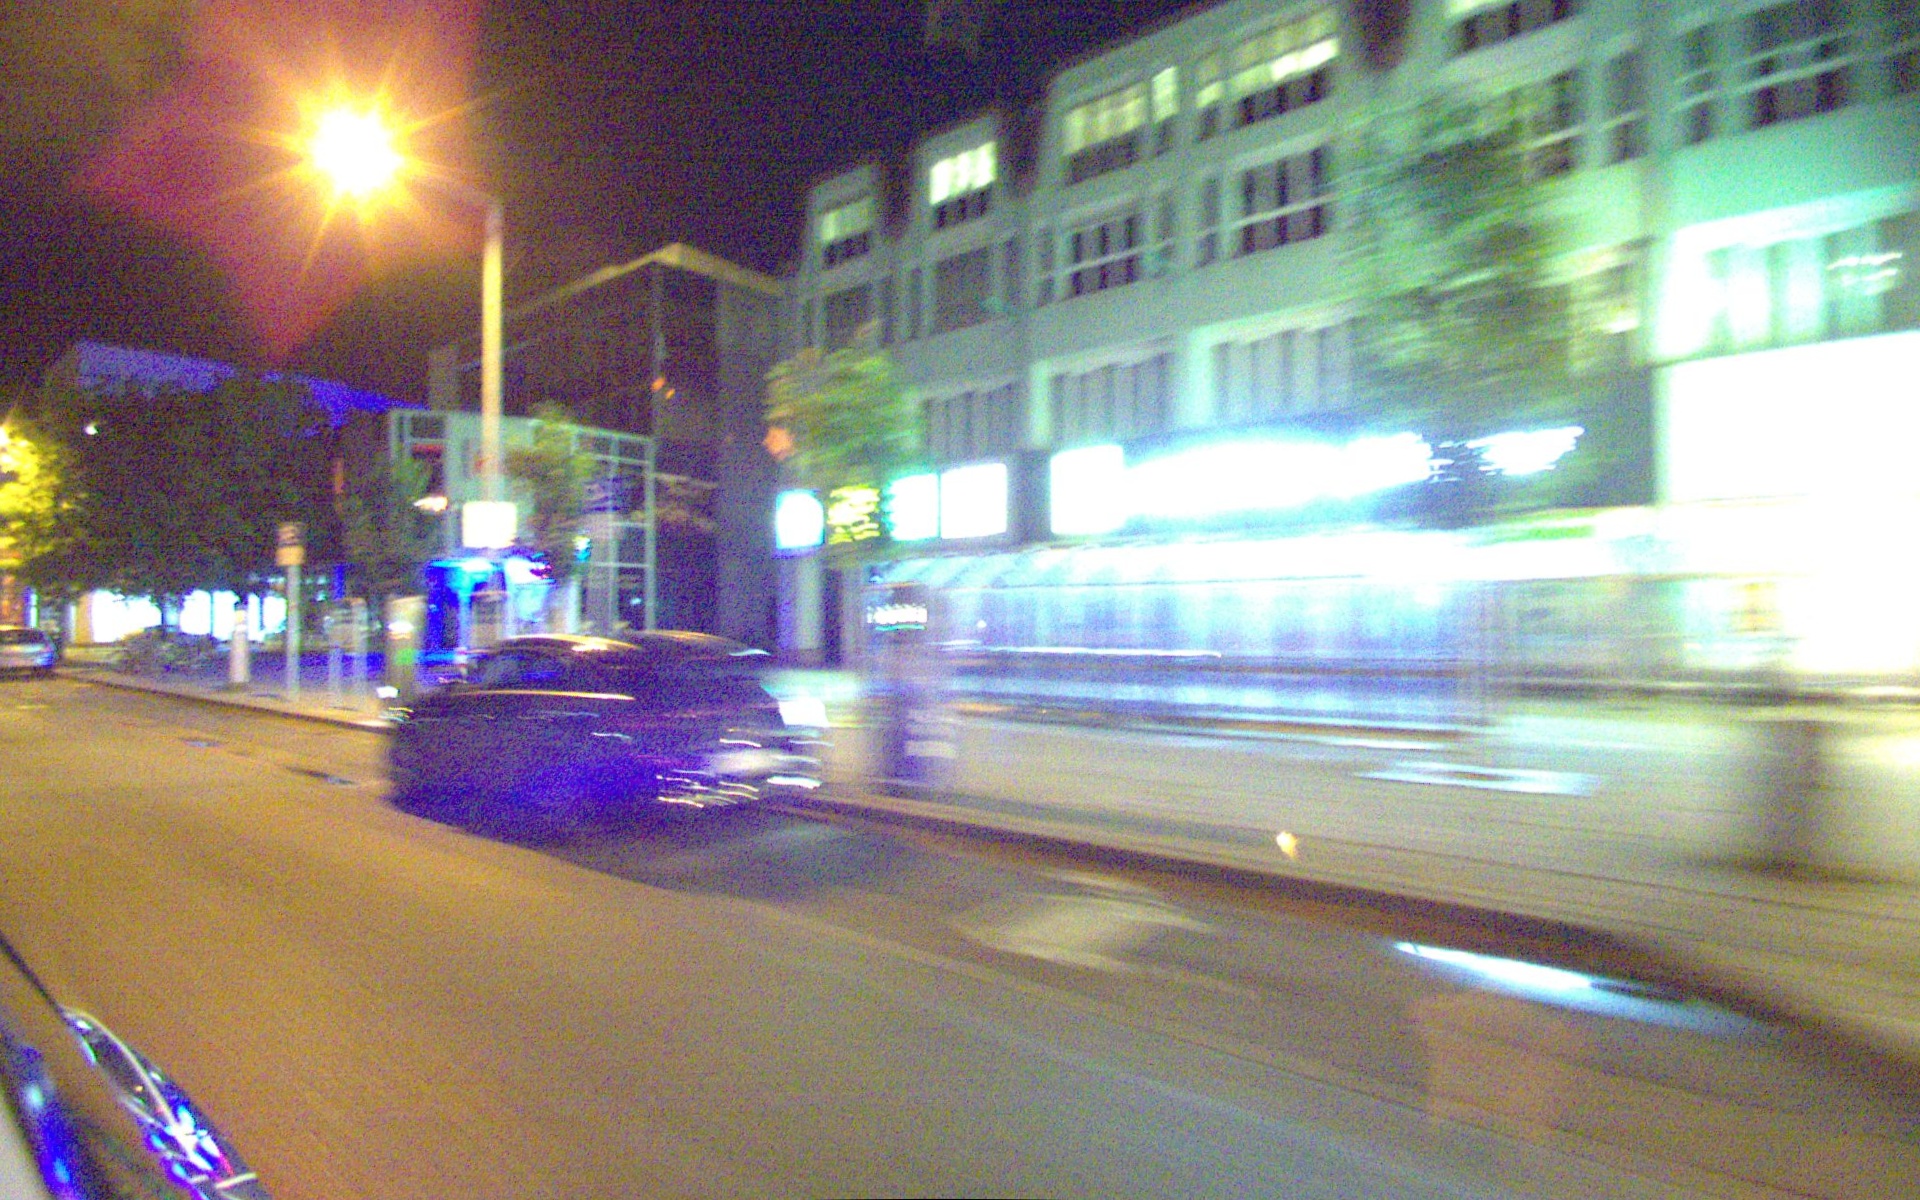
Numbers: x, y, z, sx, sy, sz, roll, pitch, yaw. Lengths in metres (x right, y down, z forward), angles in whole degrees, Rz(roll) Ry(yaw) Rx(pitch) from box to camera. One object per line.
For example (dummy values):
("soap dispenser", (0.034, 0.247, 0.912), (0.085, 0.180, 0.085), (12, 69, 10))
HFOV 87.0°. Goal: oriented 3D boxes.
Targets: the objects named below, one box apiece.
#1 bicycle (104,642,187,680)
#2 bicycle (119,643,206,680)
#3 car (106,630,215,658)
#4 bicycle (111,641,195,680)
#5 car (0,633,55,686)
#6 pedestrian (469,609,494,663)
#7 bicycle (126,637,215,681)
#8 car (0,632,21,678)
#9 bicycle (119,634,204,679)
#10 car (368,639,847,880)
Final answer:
("bicycle", (-23.929, 1.778, 29.765), (0.532, 1.007, 1.832), (-2, -1, 39))
("bicycle", (-22.206, 1.696, 28.223), (0.501, 0.975, 1.832), (-2, -3, 39))
("car", (-42.582, 2.298, 53.963), (1.801, 1.408, 4.286), (-1, -2, 39))
("bicycle", (-23.428, 1.749, 29.406), (0.532, 1.043, 1.832), (-2, -1, 39))
("car", (-28.114, 1.718, 29.768), (3.973, 1.439, 1.704), (-2, 0, 40))
("pedestrian", (-14.928, 1.123, 31.563), (0.631, 1.649, 0.473), (-2, -3, 41))
("bicycle", (-21.757, 1.607, 27.914), (0.532, 1.175, 1.832), (-2, -3, 39))
("car", (-32.132, 1.778, 32.897), (4.917, 1.436, 1.788), (-2, 0, 40))
("bicycle", (-22.870, 1.604, 29.009), (0.532, 1.263, 1.832), (-2, -3, 39))
("car", (-3.099, 1.056, 8.335), (4.492, 1.424, 1.723), (-2, -2, 41))
